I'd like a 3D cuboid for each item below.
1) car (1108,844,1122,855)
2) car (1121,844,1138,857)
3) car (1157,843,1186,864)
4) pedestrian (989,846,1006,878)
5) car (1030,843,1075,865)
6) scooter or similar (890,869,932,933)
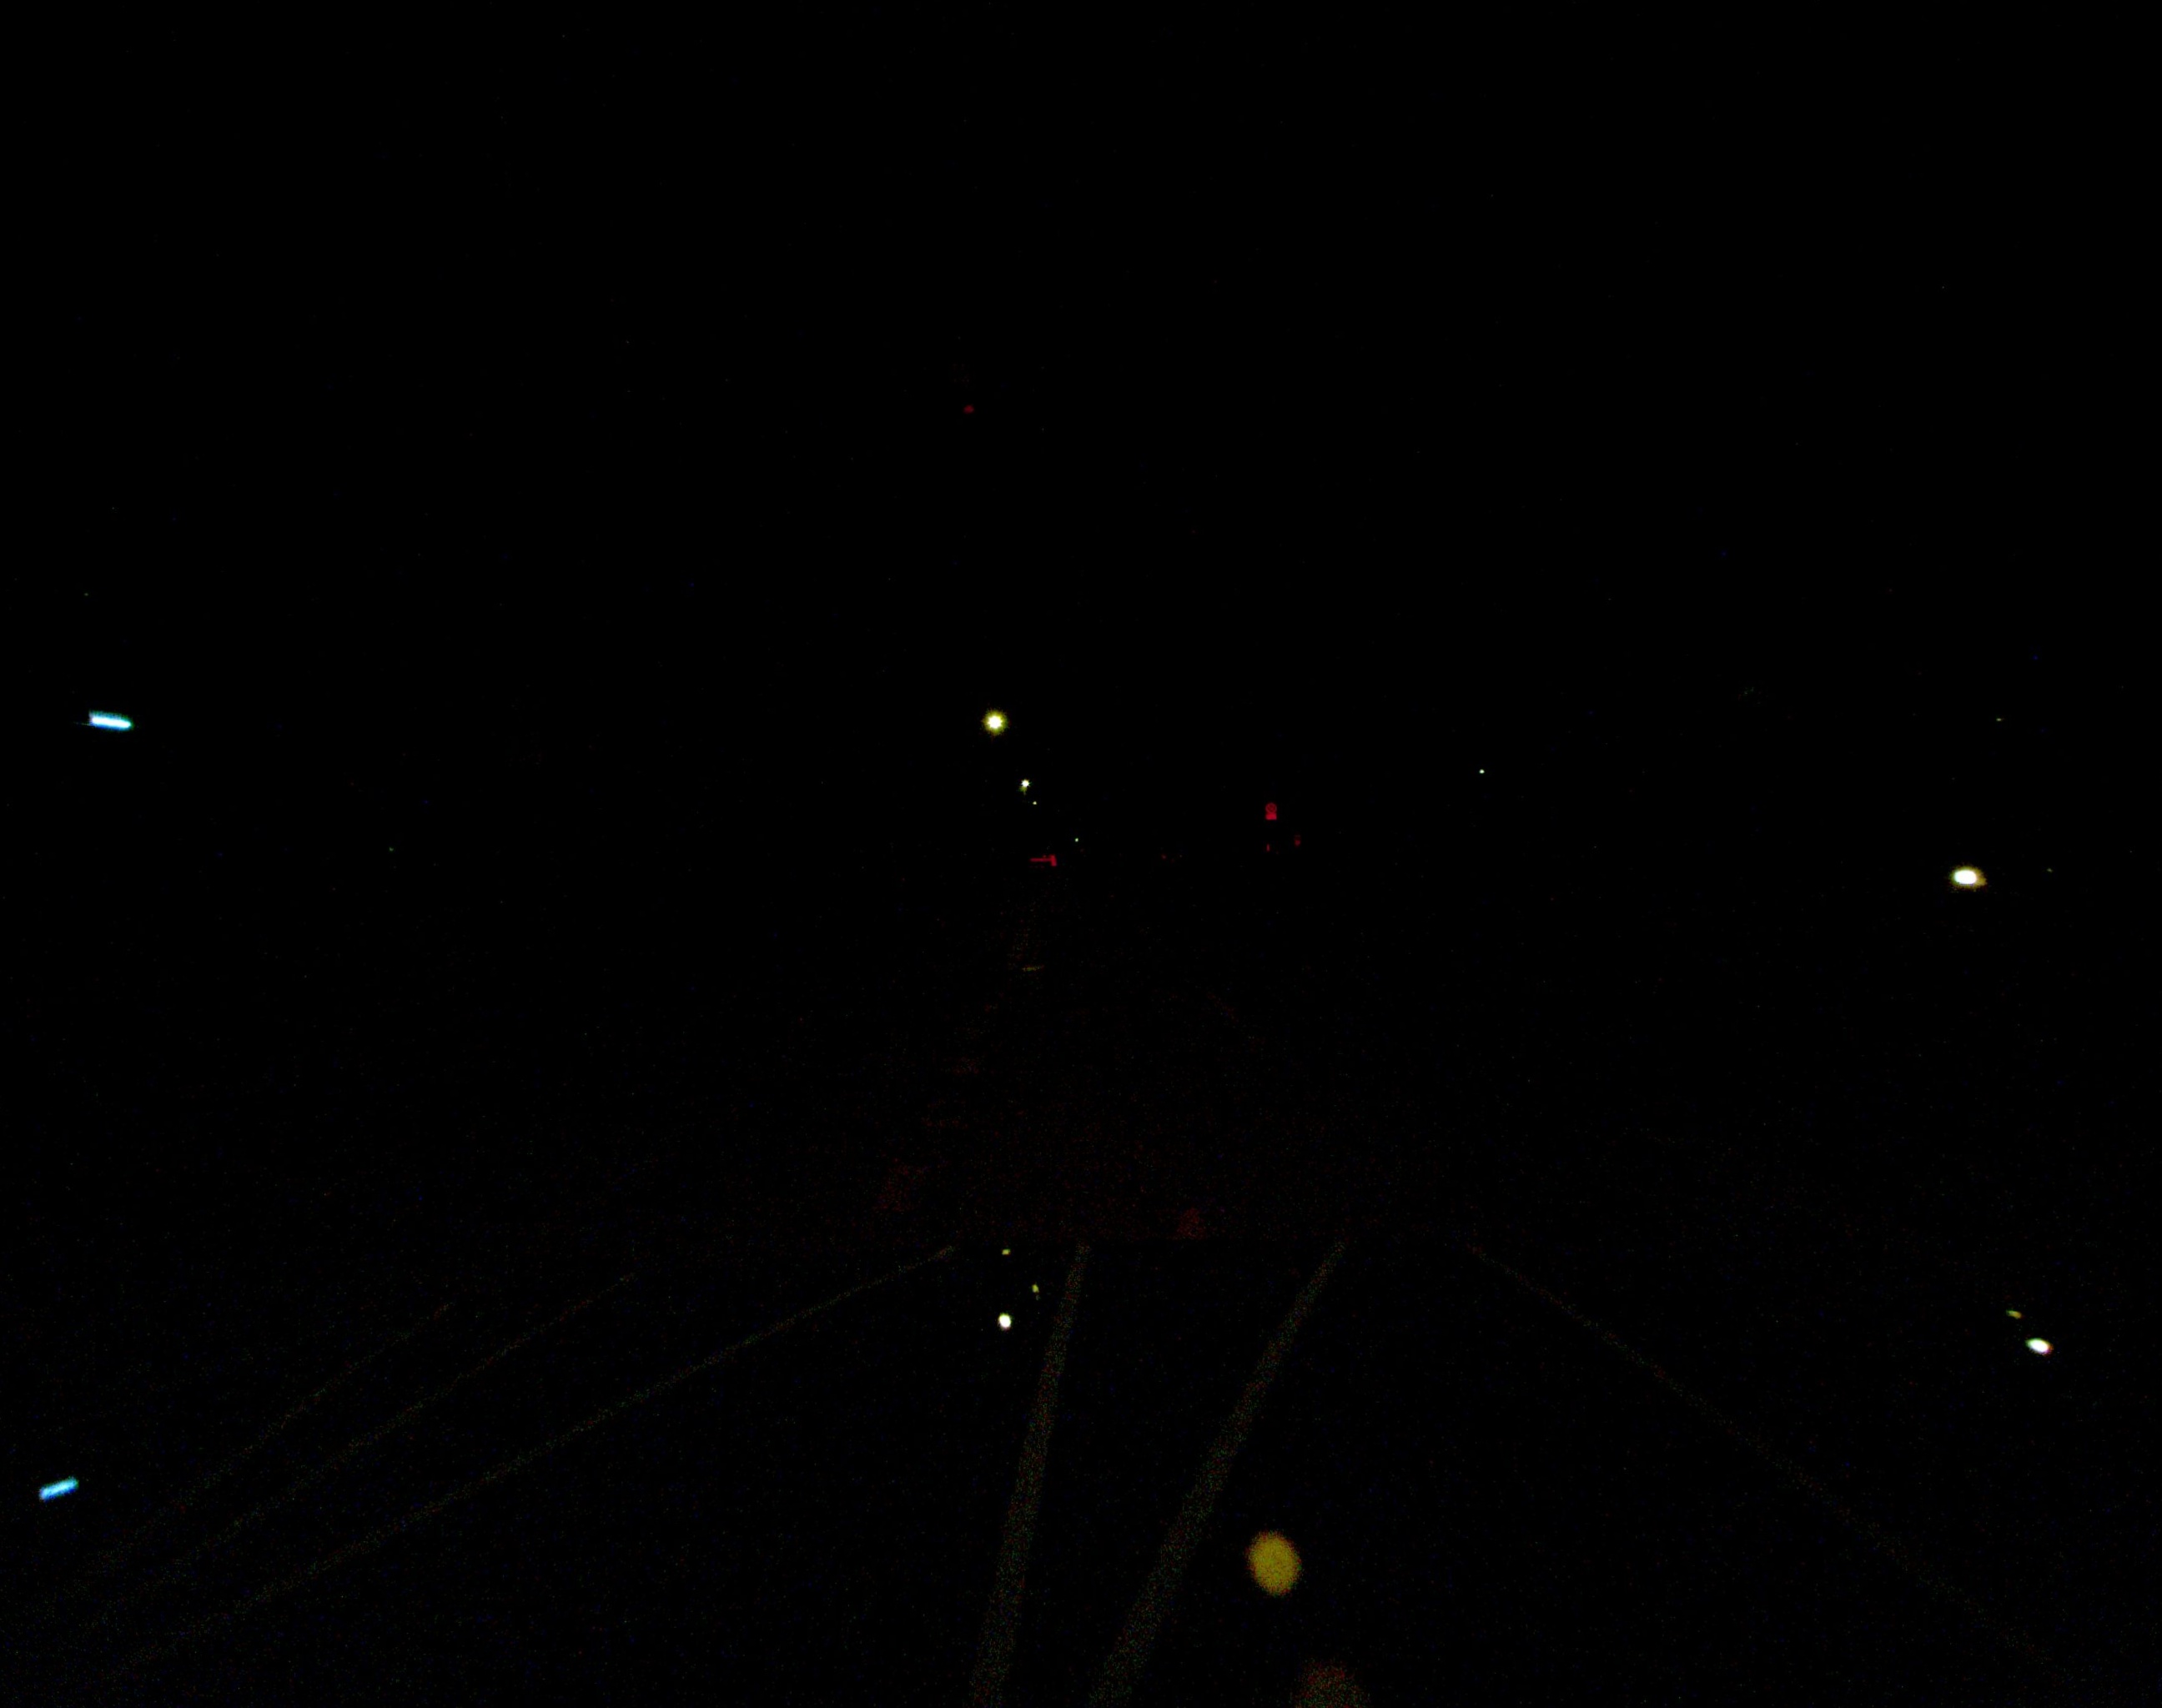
[{"bbox_3d":[5.235,-0.747,117.509,1.911,1.445,3.999,-3,2,1],"label":"car"},{"bbox_3d":[6.374,-0.508,100.477,1.911,1.445,3.999,-3,2,1],"label":"car"},{"bbox_3d":[7.228,-0.053,61.021,1.911,1.445,3.999,-3,2,1],"label":"car"},{"bbox_3d":[-4.921,0.479,44.922,0.824,1.809,0.608,-3,2,1],"label":"pedestrian"},{"bbox_3d":[-2.607,0.012,70.801,3.997,1.821,1.912,-3,2,0],"label":"car"},{"bbox_3d":[-3.633,0.981,16.305,0.570,1.271,1.391,0,0,0],"label":"scooter or similar"}]
